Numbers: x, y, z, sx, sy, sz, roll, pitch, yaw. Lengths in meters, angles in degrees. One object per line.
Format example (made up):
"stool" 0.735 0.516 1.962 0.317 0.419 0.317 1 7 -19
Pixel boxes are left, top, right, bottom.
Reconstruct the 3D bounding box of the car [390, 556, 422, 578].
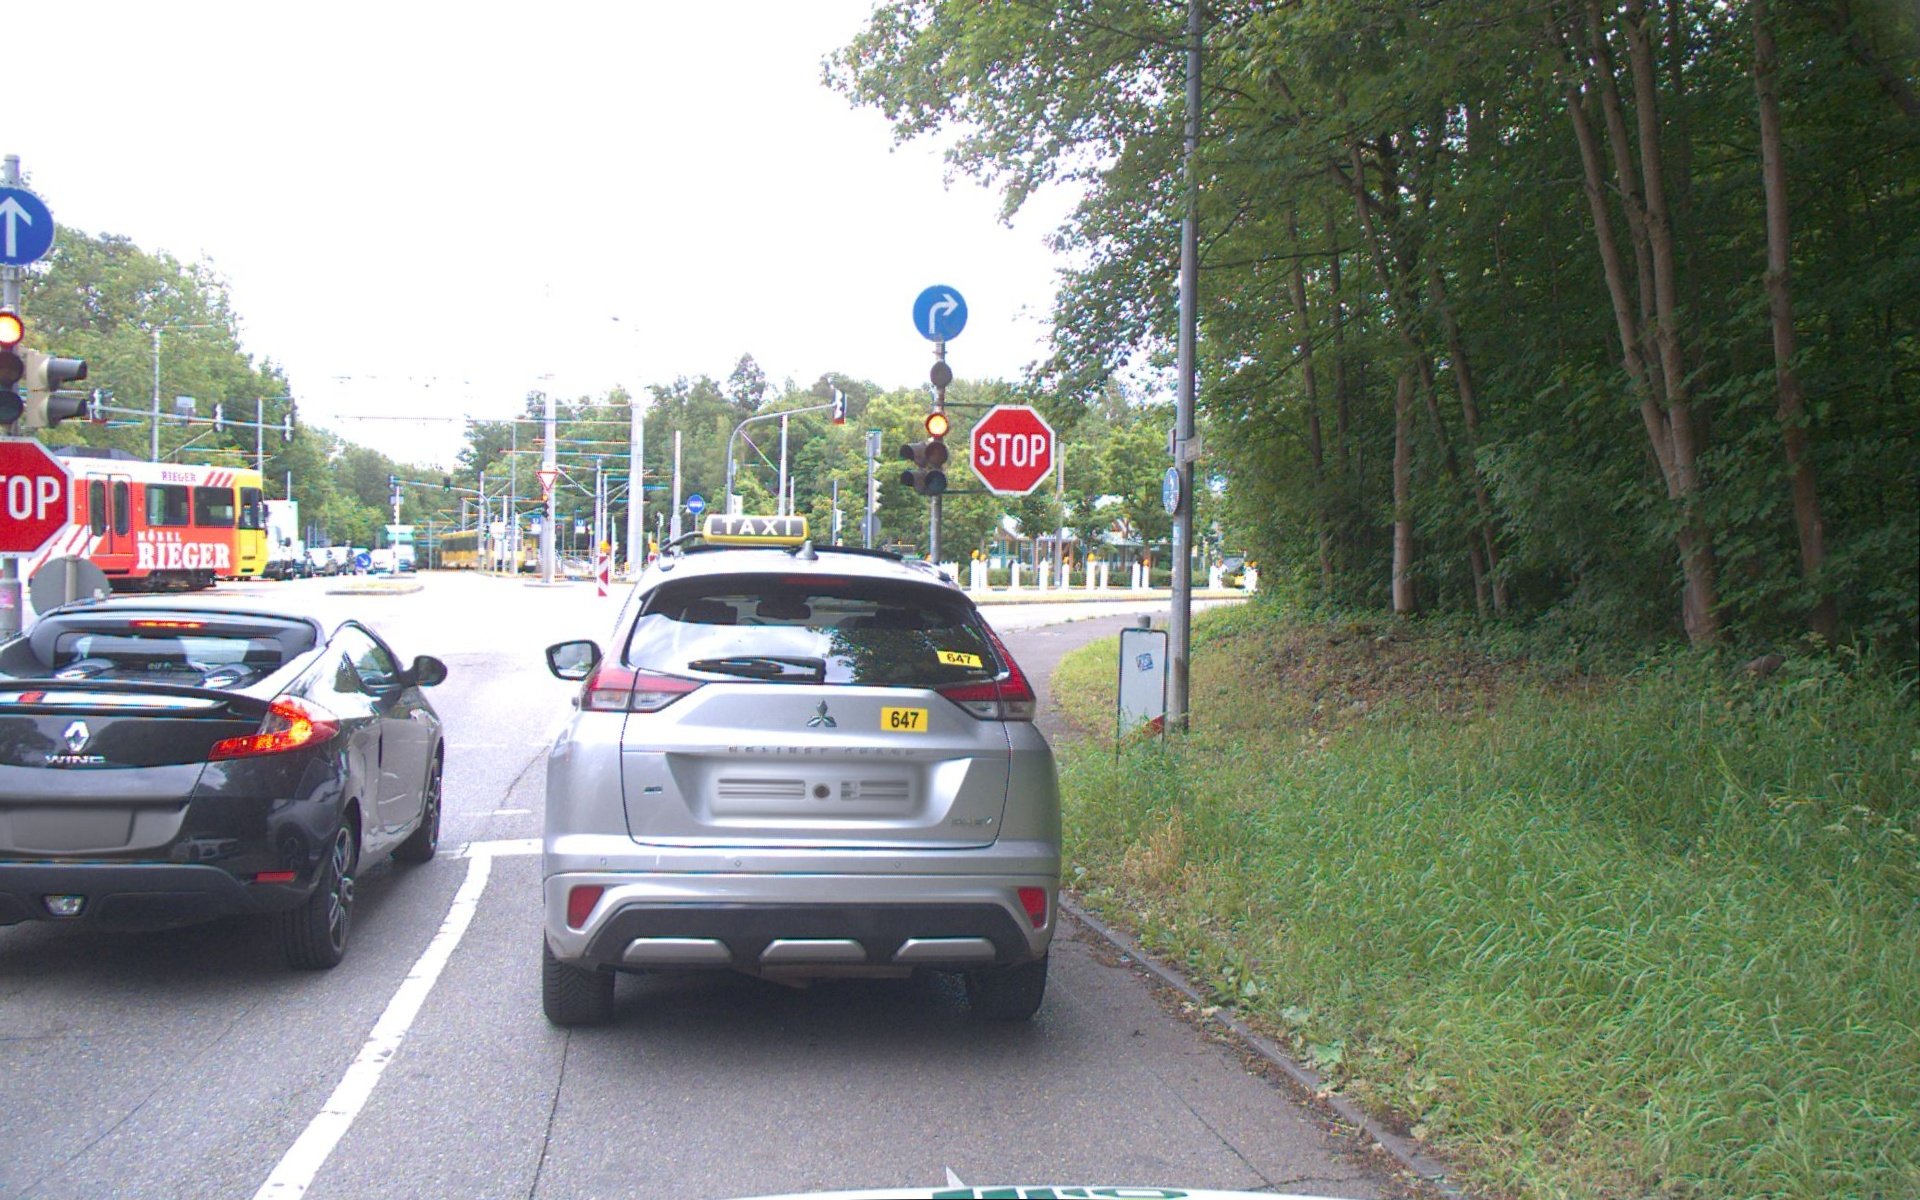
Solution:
"car" -39.986 -2.386 119.394 1.930 1.567 4.292 1 1 -16

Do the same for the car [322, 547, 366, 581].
"car" -34.965 -2.063 93.964 1.930 1.877 4.670 1 1 -16

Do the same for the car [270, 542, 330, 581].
"car" -30.936 -1.812 77.603 1.928 1.780 4.829 1 1 -14

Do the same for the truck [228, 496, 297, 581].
"truck" -28.293 -2.436 67.303 2.414 3.280 7.109 0 1 -22

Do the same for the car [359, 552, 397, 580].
"car" -35.451 -2.103 100.817 1.930 1.635 4.292 1 1 -16

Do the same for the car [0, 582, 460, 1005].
"car" -3.307 0.632 7.309 1.742 1.385 3.467 0 1 -11

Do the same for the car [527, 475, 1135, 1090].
"car" -0.650 0.524 6.786 1.741 1.778 3.773 2 1 -9

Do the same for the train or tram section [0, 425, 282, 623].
"train or tram section" -24.255 -1.826 40.275 2.885 4.732 18.552 1 0 18

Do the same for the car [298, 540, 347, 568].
"car" -33.288 -2.412 86.440 1.930 1.385 4.670 1 1 -16

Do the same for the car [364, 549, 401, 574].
"car" -37.082 -2.498 106.315 1.930 1.568 4.378 1 1 -16
